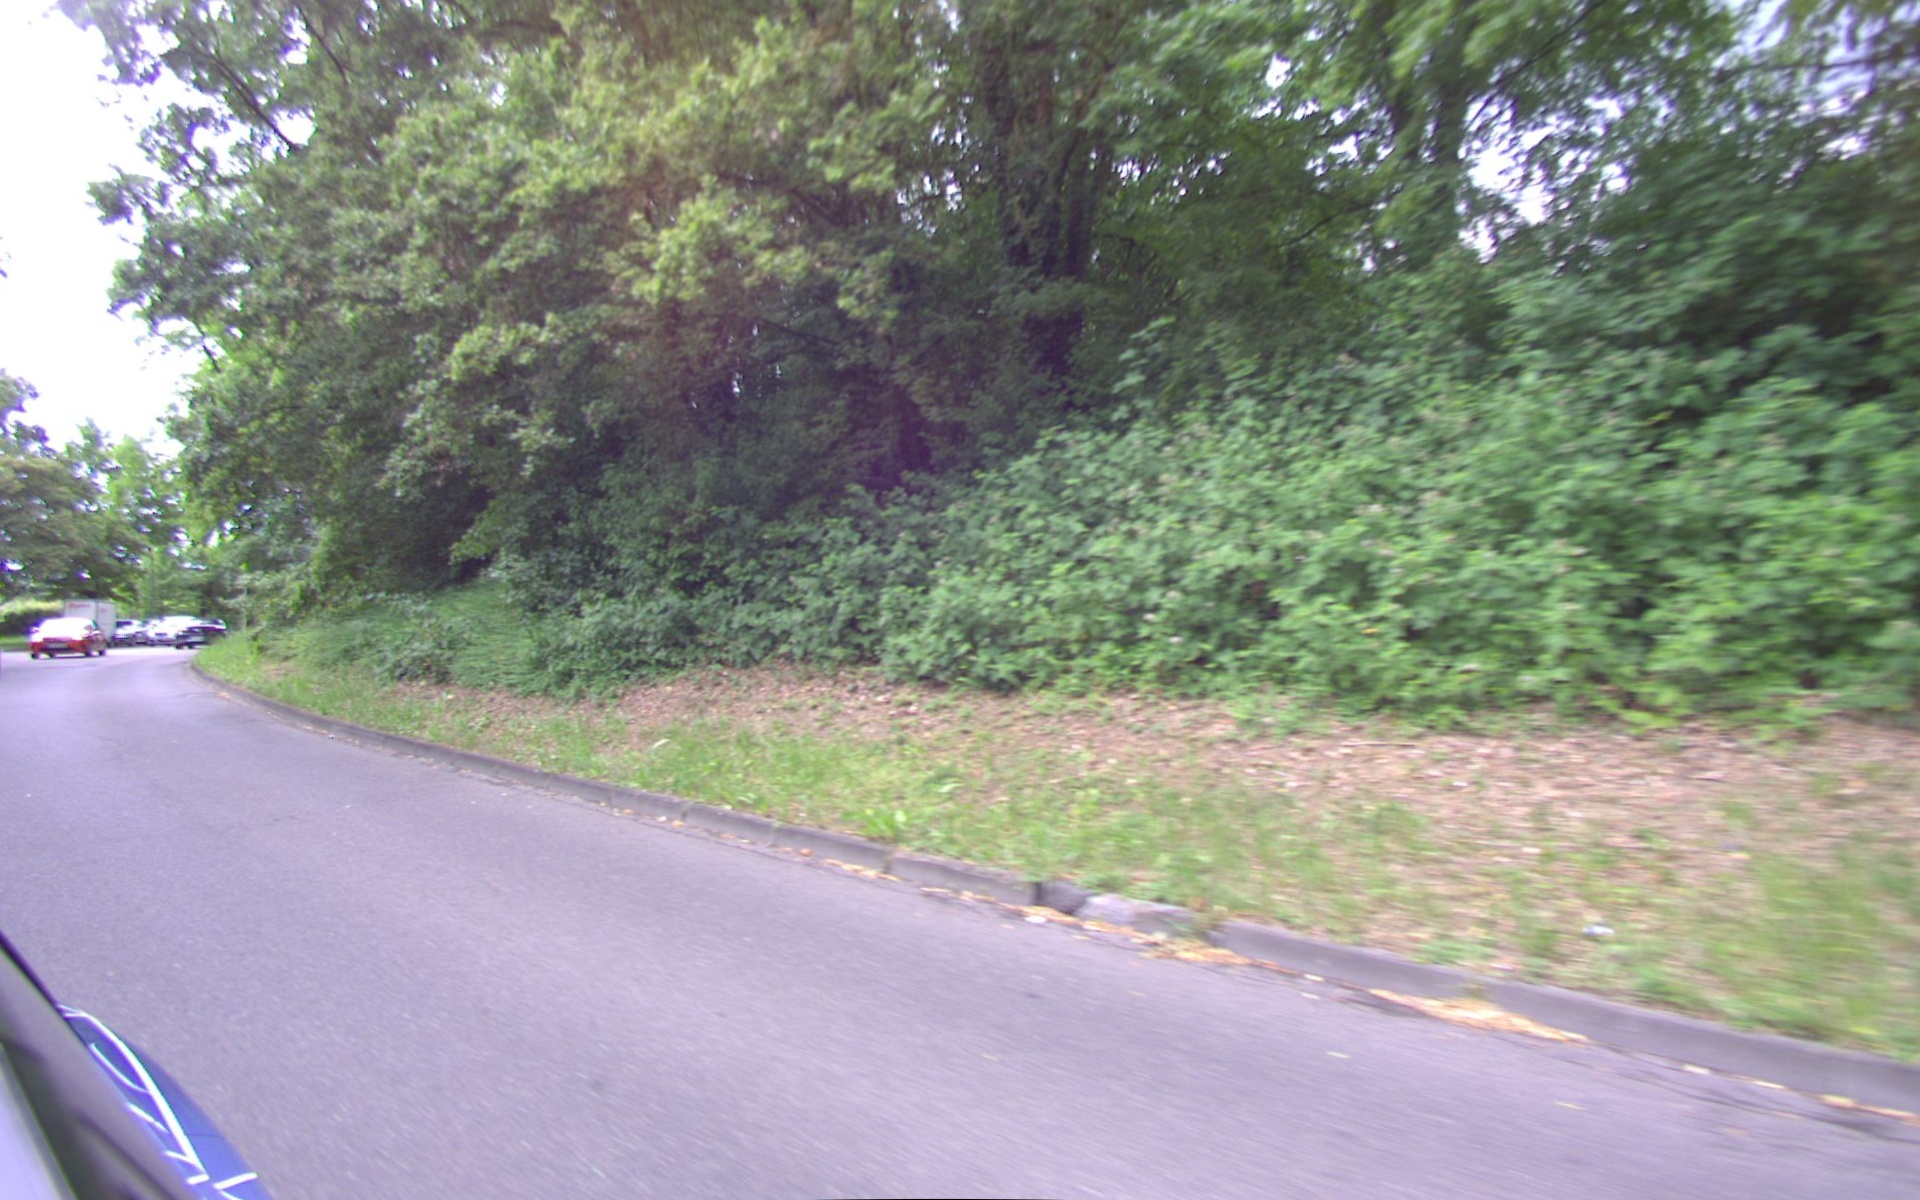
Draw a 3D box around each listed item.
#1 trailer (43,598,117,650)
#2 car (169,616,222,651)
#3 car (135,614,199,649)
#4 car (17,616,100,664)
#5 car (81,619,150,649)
[{"bbox_3d":[-43.621,1.179,50.255,1.736,2.445,3.900,0,-1,-25],"label":"trailer"},{"bbox_3d":[-35.713,1.532,47.341,1.767,1.399,4.503,-3,2,-35],"label":"car"},{"bbox_3d":[-42.314,1.629,54.102,1.891,1.694,4.013,0,1,-26],"label":"car"},{"bbox_3d":[-33.191,1.454,37.349,1.838,1.459,4.186,3,0,-36],"label":"car"},{"bbox_3d":[-45.970,1.808,55.175,1.716,1.537,4.651,0,-1,-25],"label":"car"}]
